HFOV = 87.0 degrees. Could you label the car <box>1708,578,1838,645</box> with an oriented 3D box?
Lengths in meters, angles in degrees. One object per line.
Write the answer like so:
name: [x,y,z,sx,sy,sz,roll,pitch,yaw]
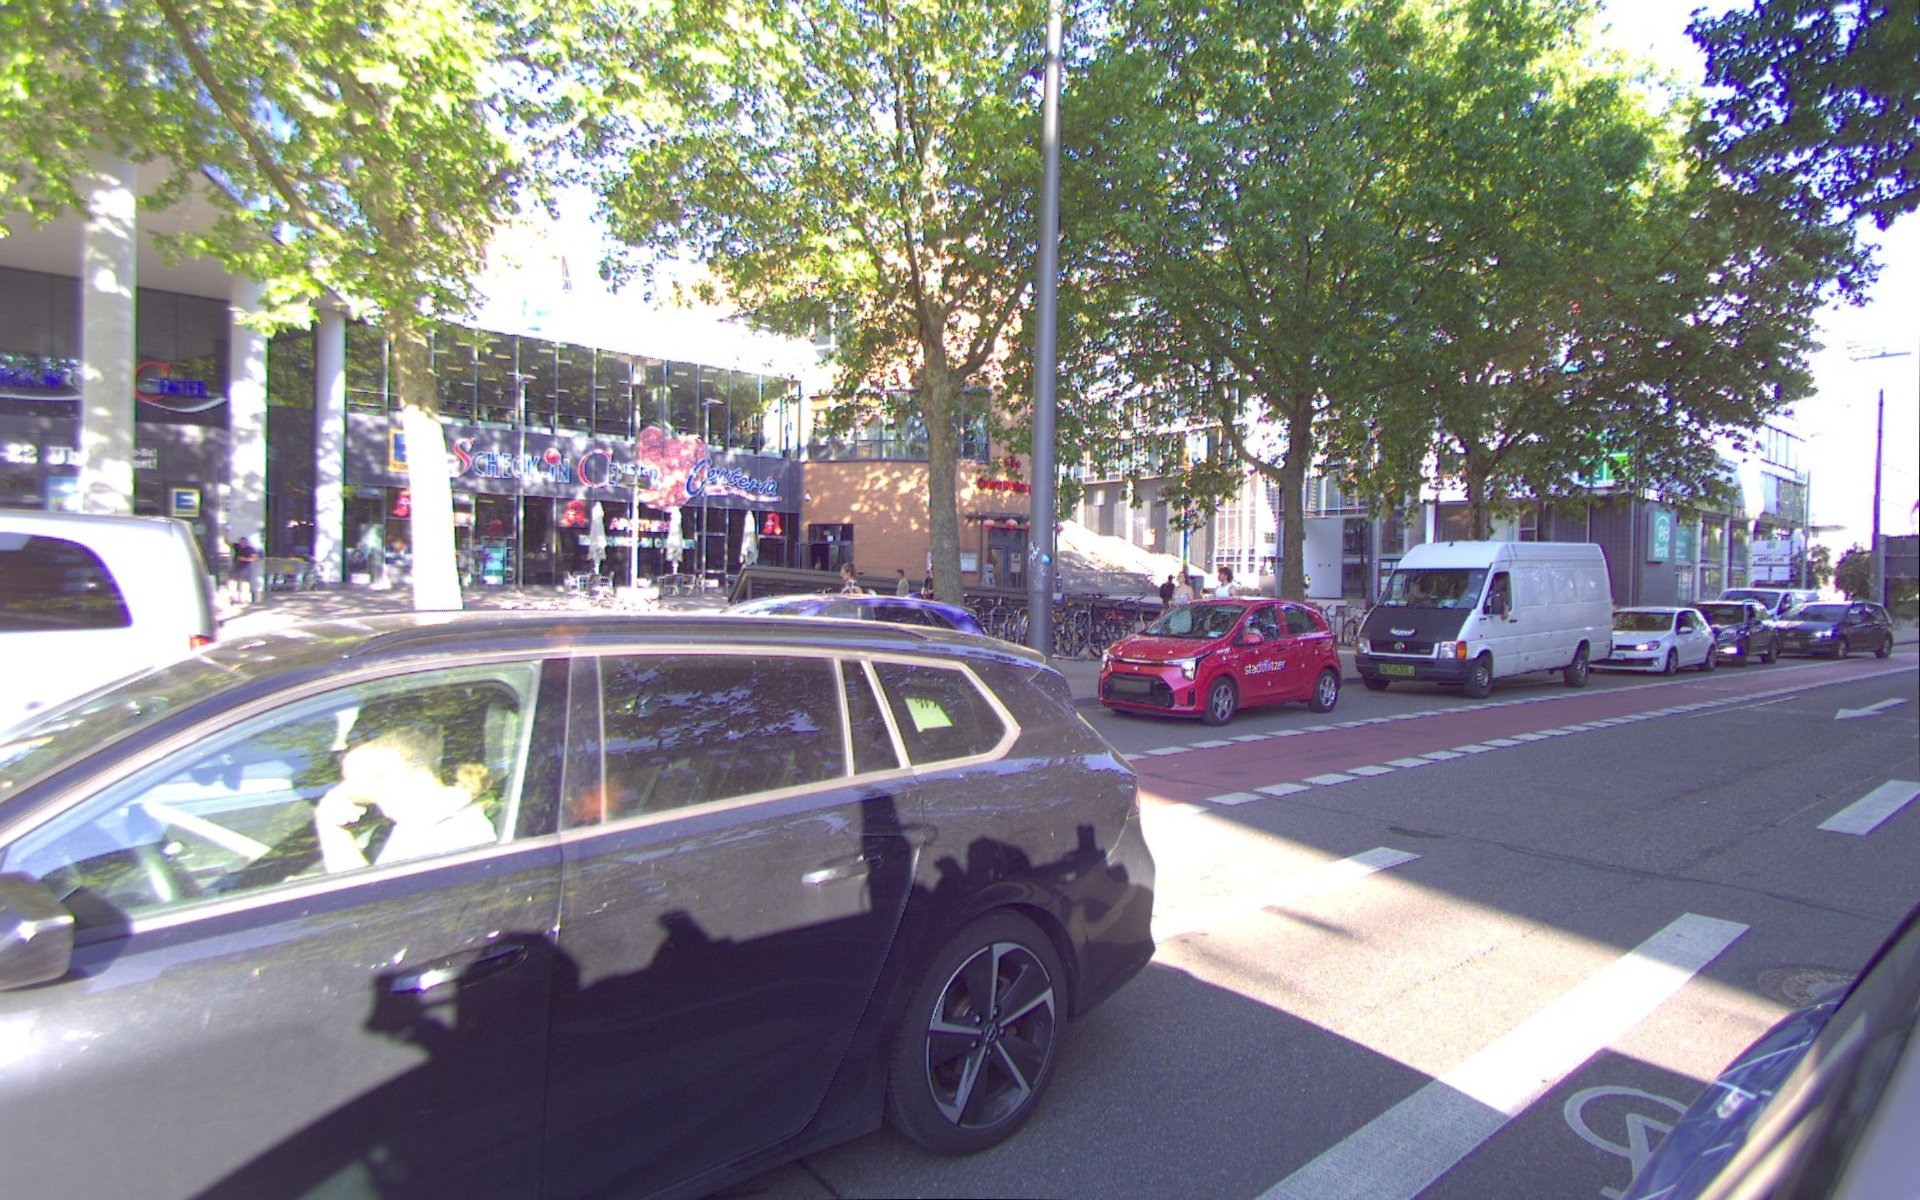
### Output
car: [26.413,0.348,32.828,4.863,2.020,1.968,0,1,-35]

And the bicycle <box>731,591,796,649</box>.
bicycle: [-3.889,0.376,20.055,1.202,1.110,0.429,0,1,-40]

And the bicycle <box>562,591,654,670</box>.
bicycle: [-5.158,0.428,14.846,1.202,1.110,0.396,0,1,-40]

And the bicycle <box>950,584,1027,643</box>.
bicycle: [0.636,0.275,21.707,1.818,1.209,0.434,0,1,-41]

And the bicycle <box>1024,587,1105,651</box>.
bicycle: [2.109,0.366,20.265,1.818,1.209,0.484,0,1,-41]

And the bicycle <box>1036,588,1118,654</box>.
bicycle: [2.297,0.391,19.757,1.818,1.209,0.448,0,1,-41]

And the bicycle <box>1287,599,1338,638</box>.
bicycle: [9.924,0.509,28.461,1.818,1.046,0.515,0,2,-41]

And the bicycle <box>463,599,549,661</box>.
bicycle: [-7.122,0.466,15.926,1.198,0.938,0.465,1,1,-22]

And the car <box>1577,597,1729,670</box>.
car: [15.311,0.680,22.300,3.927,1.446,1.683,0,1,-38]

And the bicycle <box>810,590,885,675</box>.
bicycle: [-1.745,0.487,15.743,1.126,1.271,0.379,0,1,-41]

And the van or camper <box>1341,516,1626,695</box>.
van or camper: [9.267,0.072,17.568,6.456,2.611,1.998,0,0,-39]

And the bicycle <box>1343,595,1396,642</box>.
bicycle: [11.031,0.481,27.239,1.818,1.209,0.521,0,2,-41]

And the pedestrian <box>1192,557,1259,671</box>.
pedestrian: [4.559,0.224,17.384,0.642,1.867,0.801,7,4,45]

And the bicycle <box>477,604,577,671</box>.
bicycle: [-6.239,0.522,14.602,1.231,0.898,0.462,0,1,-40]

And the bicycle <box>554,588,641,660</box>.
bicycle: [-5.841,0.369,16.353,0.414,1.110,1.269,2,1,41]

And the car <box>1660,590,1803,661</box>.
car: [19.702,0.594,25.802,4.148,1.640,1.819,0,1,-36]

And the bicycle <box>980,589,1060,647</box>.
bicycle: [1.255,0.355,20.975,1.818,1.139,0.484,0,2,-41]

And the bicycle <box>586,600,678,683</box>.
bicycle: [-4.581,0.558,14.186,1.202,1.110,0.269,0,1,-40]

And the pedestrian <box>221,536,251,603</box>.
pedestrian: [-18.785,-0.795,26.253,0.506,1.707,0.604,1,1,-23]

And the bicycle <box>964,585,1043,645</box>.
bicycle: [0.934,0.300,21.354,1.818,1.209,0.458,0,1,-41]

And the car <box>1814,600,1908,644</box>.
car: [31.731,0.738,35.609,3.927,1.394,1.802,0,2,-38]

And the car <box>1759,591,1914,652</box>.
car: [25.294,0.584,29.197,4.242,1.640,1.970,0,1,-28]

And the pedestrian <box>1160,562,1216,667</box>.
pedestrian: [4.033,0.241,17.902,0.646,1.799,0.752,2,1,43]

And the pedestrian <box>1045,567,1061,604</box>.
pedestrian: [5.232,-0.828,56.803,0.861,2.062,0.585,1,1,6]

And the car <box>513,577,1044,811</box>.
car: [-1.372,0.598,8.664,4.177,1.503,1.742,0,2,-41]

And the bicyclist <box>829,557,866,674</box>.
bicyclist: [-1.746,0.232,15.758,0.392,1.782,0.390,0,1,-41]

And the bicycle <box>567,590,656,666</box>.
bicycle: [-5.360,0.409,15.594,0.372,1.110,1.269,2,1,41]

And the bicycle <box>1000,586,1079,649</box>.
bicycle: [1.628,0.342,20.526,1.818,1.209,0.447,0,1,-41]

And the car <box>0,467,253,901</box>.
car: [-6.216,0.360,4.381,5.008,2.004,1.940,0,2,-41]

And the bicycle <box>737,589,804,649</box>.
bicycle: [-3.644,0.347,19.511,1.202,1.110,0.444,0,1,-40]

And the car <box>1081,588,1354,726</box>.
car: [3.340,0.612,12.817,3.588,1.476,1.605,0,1,-41]

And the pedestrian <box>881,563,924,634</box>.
pedestrian: [-1.422,-0.046,25.051,0.799,1.728,0.711,2,1,28]

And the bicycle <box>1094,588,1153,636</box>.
bicycle: [4.389,0.309,27.073,1.759,1.209,0.517,0,2,-41]

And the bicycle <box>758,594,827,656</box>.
bicycle: [-3.113,0.448,18.845,1.202,1.110,0.427,0,1,-40]

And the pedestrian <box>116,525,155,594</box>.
pedestrian: [-21.771,-1.063,26.734,0.590,1.805,0.889,1,1,-27]

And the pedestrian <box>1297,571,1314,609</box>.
pedestrian: [20.096,-0.581,58.873,0.826,2.183,0.852,2,1,26]

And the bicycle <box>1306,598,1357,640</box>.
bicycle: [10.307,0.510,28.051,1.766,1.108,0.522,0,2,-41]

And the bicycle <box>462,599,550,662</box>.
bicycle: [-6.959,0.457,15.549,1.198,0.930,0.442,1,1,-22]

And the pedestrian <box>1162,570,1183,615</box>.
pedestrian: [7.608,-0.262,36.192,0.707,1.578,0.638,1,1,14]

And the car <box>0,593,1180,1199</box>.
car: [-1.458,0.702,2.444,4.196,1.432,1.742,0,0,-41]

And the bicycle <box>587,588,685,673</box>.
bicycle: [-4.436,0.402,13.890,1.202,1.110,0.413,0,1,-40]

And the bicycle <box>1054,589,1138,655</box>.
bicycle: [2.620,0.402,19.371,1.818,1.209,0.481,0,1,-41]

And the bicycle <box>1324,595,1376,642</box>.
bicycle: [10.663,0.488,27.638,1.818,1.209,0.495,0,2,-41]
